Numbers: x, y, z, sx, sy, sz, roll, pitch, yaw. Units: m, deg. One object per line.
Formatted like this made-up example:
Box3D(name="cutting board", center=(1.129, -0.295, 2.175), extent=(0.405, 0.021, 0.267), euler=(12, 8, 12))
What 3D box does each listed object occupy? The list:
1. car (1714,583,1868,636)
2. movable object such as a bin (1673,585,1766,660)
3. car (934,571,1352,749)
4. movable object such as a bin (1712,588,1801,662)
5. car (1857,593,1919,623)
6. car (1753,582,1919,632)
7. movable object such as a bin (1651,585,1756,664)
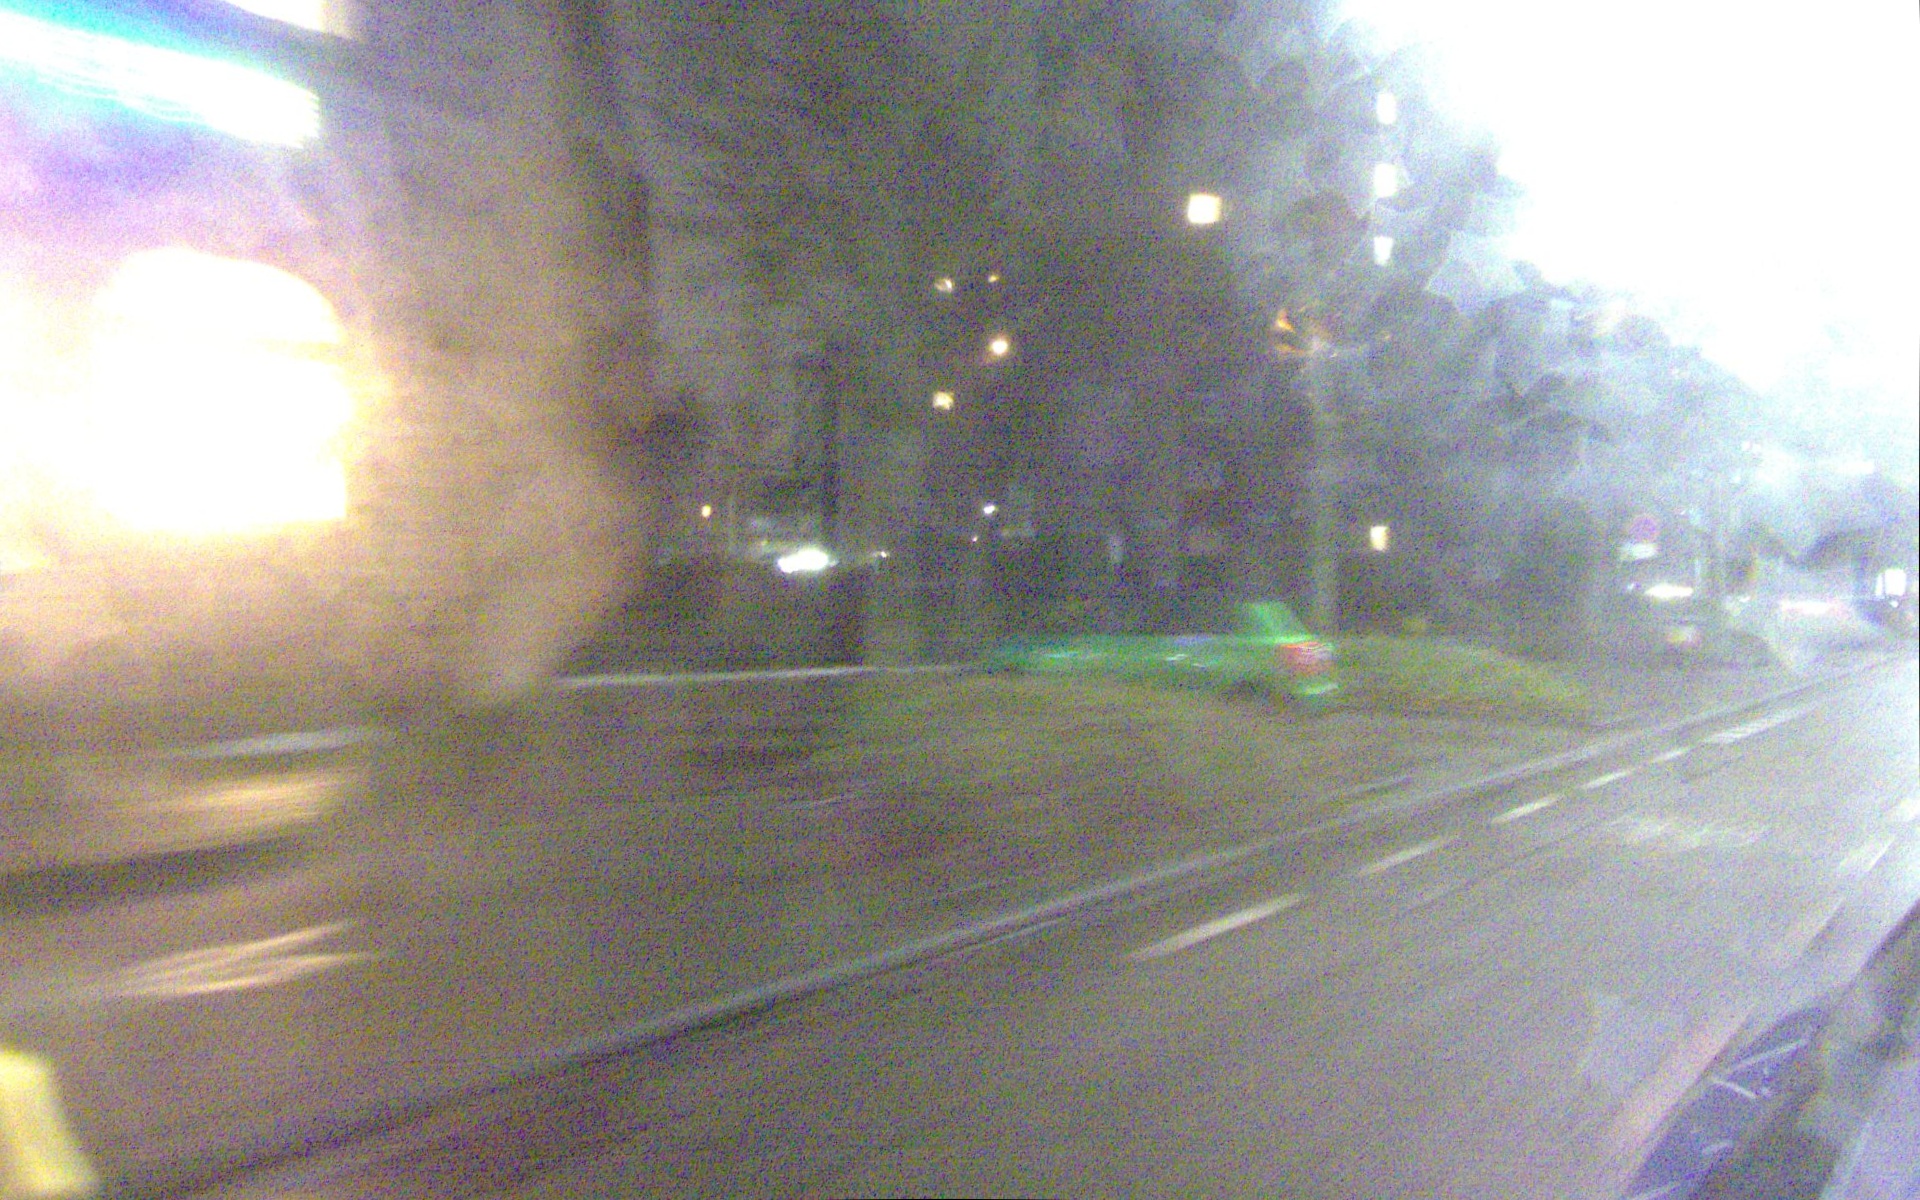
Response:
Box3D(name="car", center=(27.379, 0.275, 33.499), extent=(3.677, 1.536, 1.640), euler=(3, 2, 31))
Box3D(name="movable object such as a bin", center=(15.652, 0.440, 20.870), extent=(1.080, 1.439, 1.212), euler=(0, 3, -35))
Box3D(name="car", center=(1.962, 0.497, 10.820), extent=(4.062, 1.556, 1.945), euler=(1, 1, 24))
Box3D(name="movable object such as a bin", center=(16.768, 0.488, 21.312), extent=(1.322, 1.425, 1.141), euler=(4, 3, 44))
Box3D(name="car", center=(49.500, 0.421, 52.358), extent=(4.273, 1.486, 1.676), euler=(1, 1, 11))
Box3D(name="car", center=(30.715, 0.198, 35.272), extent=(4.562, 1.493, 1.821), euler=(3, 2, 30))
Box3D(name="movable object such as a bin", center=(14.793, 0.453, 20.165), extent=(1.052, 1.439, 1.373), euler=(0, 3, -35))
